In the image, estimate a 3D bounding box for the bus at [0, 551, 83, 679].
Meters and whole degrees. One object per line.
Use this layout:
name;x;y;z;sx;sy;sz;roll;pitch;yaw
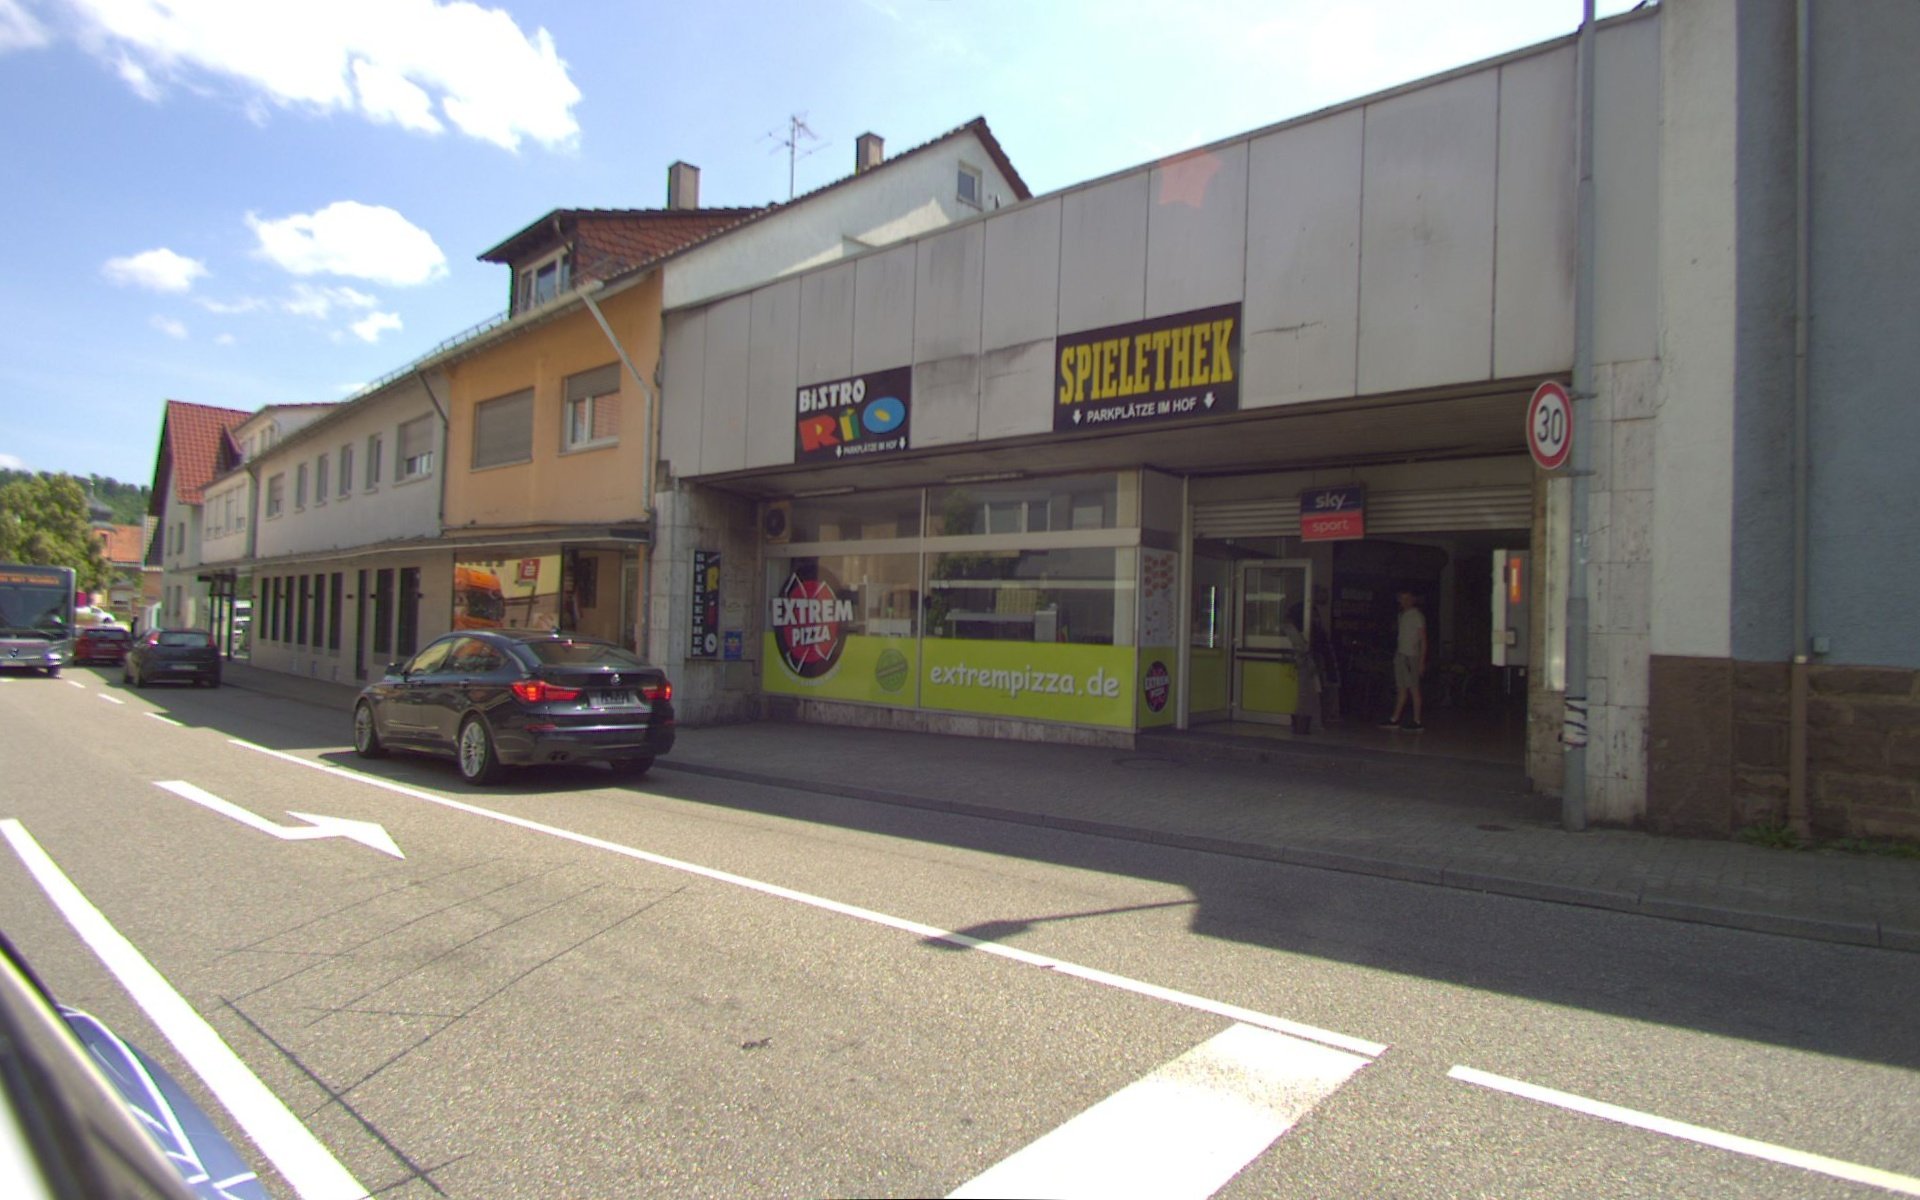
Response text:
bus;-31.065;0.577;32.245;19.034;3.229;2.820;-2;-2;43

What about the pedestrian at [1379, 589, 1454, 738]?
pedestrian;5.846;0.796;12.989;0.687;1.842;0.741;0;-2;10

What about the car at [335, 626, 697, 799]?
car;-5.111;1.109;11.285;4.795;1.498;1.778;-1;-5;42

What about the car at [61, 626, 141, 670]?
car;-30.997;1.732;36.470;4.285;1.419;1.698;-2;-6;44

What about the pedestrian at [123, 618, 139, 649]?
pedestrian;-47.733;1.920;58.285;0.475;1.777;0.468;1;-2;22

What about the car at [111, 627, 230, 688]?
car;-20.123;1.475;25.749;3.819;1.434;1.699;-2;-5;42

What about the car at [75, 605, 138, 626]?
car;-81.722;1.466;96.970;1.958;1.958;4.422;0;-2;10
